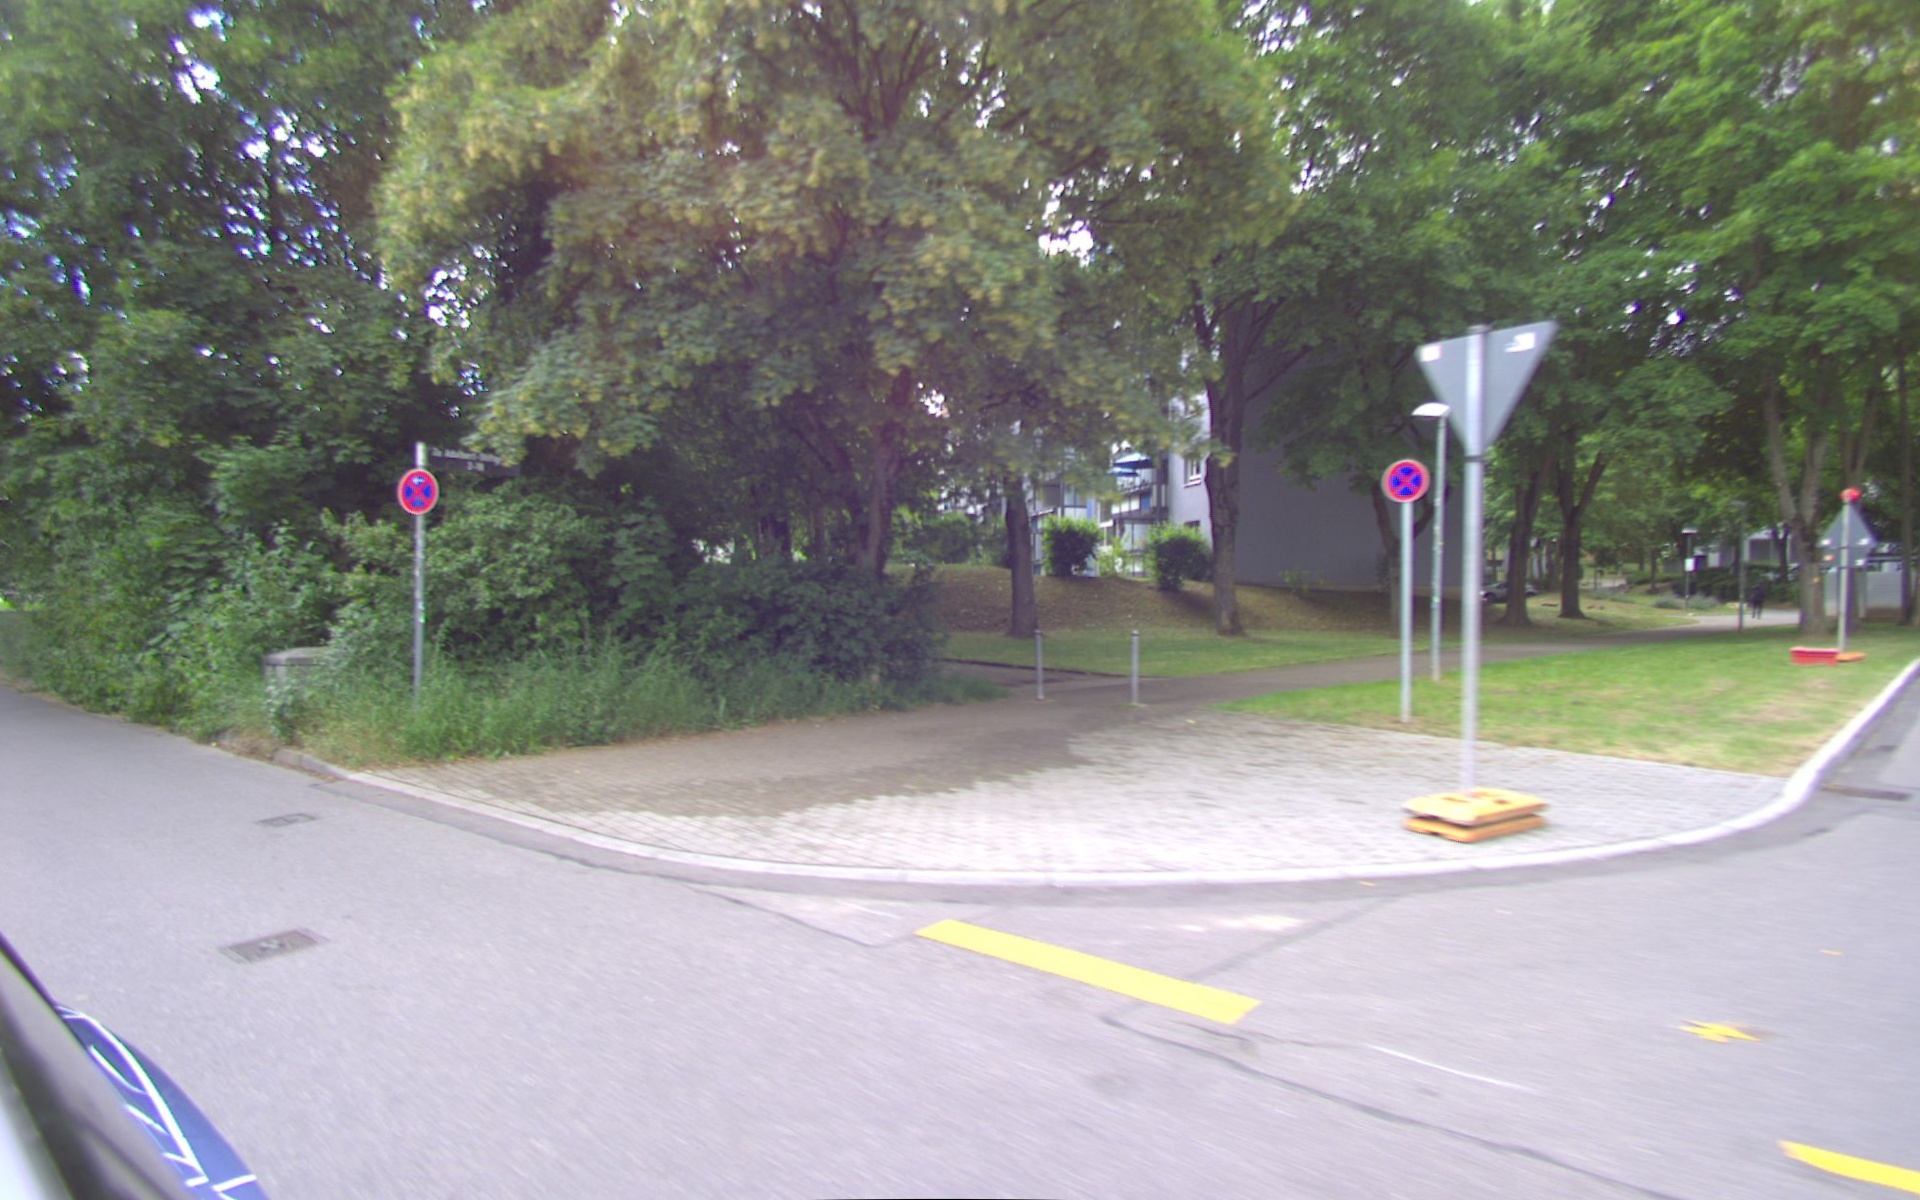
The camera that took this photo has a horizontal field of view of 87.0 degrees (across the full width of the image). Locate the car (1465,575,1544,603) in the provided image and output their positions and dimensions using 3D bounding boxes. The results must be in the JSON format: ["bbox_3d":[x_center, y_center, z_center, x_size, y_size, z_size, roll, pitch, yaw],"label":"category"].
[{"bbox_3d":[36.939,-0.735,68.751,4.198,1.780,2.203,-1,0,13],"label":"car"}]
